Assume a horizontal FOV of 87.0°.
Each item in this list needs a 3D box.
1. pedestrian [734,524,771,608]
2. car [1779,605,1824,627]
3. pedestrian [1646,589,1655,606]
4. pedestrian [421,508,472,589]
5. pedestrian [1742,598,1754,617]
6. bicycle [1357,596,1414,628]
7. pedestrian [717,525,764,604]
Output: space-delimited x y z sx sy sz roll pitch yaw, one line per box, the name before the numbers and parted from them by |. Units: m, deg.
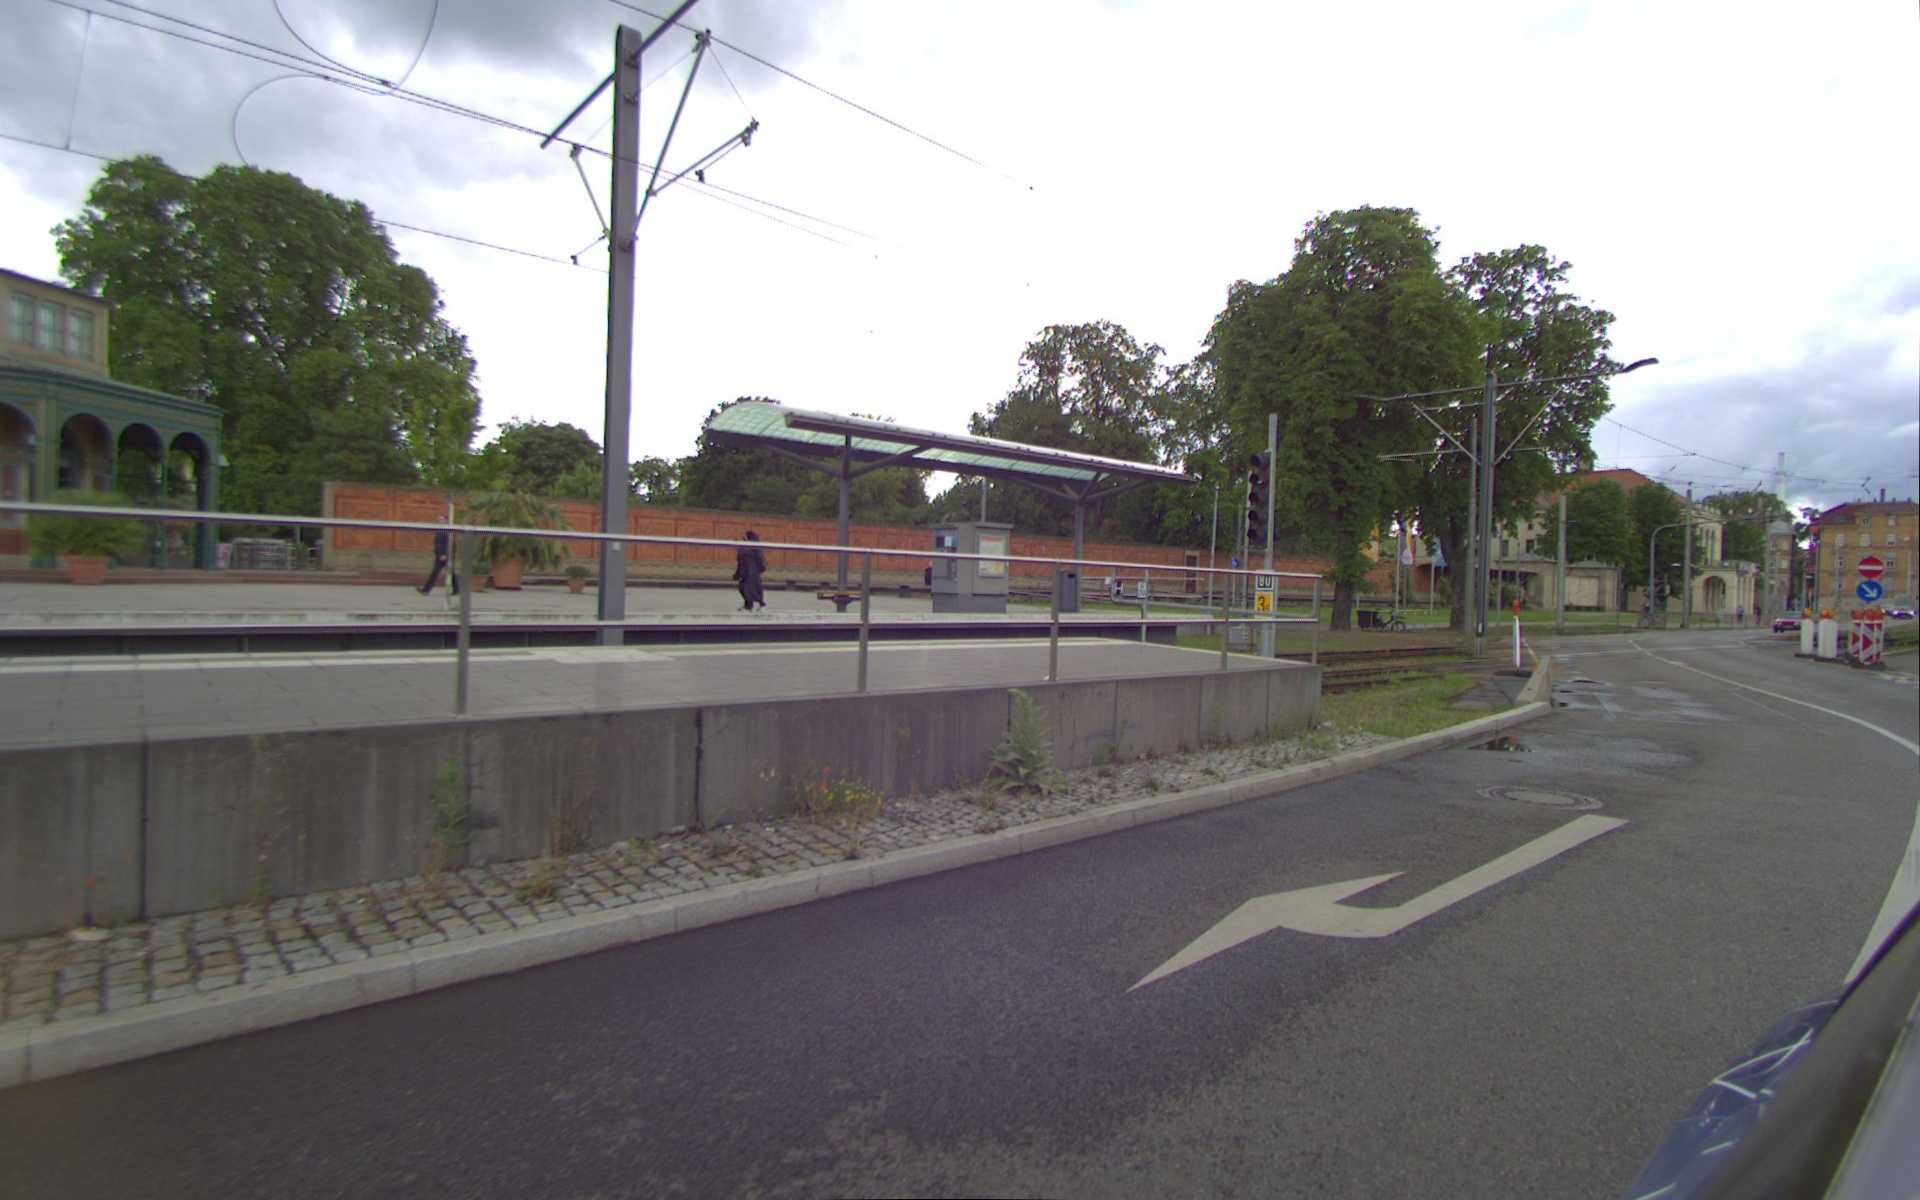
pedestrian | -4.251 -0.681 20.756 0.616 1.681 0.487 0 -1 -32
car | 55.789 1.052 67.076 4.048 1.460 1.679 1 -1 -42
pedestrian | 72.596 -0.249 106.384 0.794 1.814 0.596 1 1 -41
pedestrian | -12.186 -1.194 24.015 0.548 1.861 0.937 -1 -1 43
pedestrian | 75.970 0.744 97.583 0.920 1.790 0.672 1 1 -41
bicycle | 17.245 0.476 41.040 0.727 1.172 1.998 1 1 -36
pedestrian | -4.622 -0.725 21.272 0.757 1.621 0.742 0 -1 -32
